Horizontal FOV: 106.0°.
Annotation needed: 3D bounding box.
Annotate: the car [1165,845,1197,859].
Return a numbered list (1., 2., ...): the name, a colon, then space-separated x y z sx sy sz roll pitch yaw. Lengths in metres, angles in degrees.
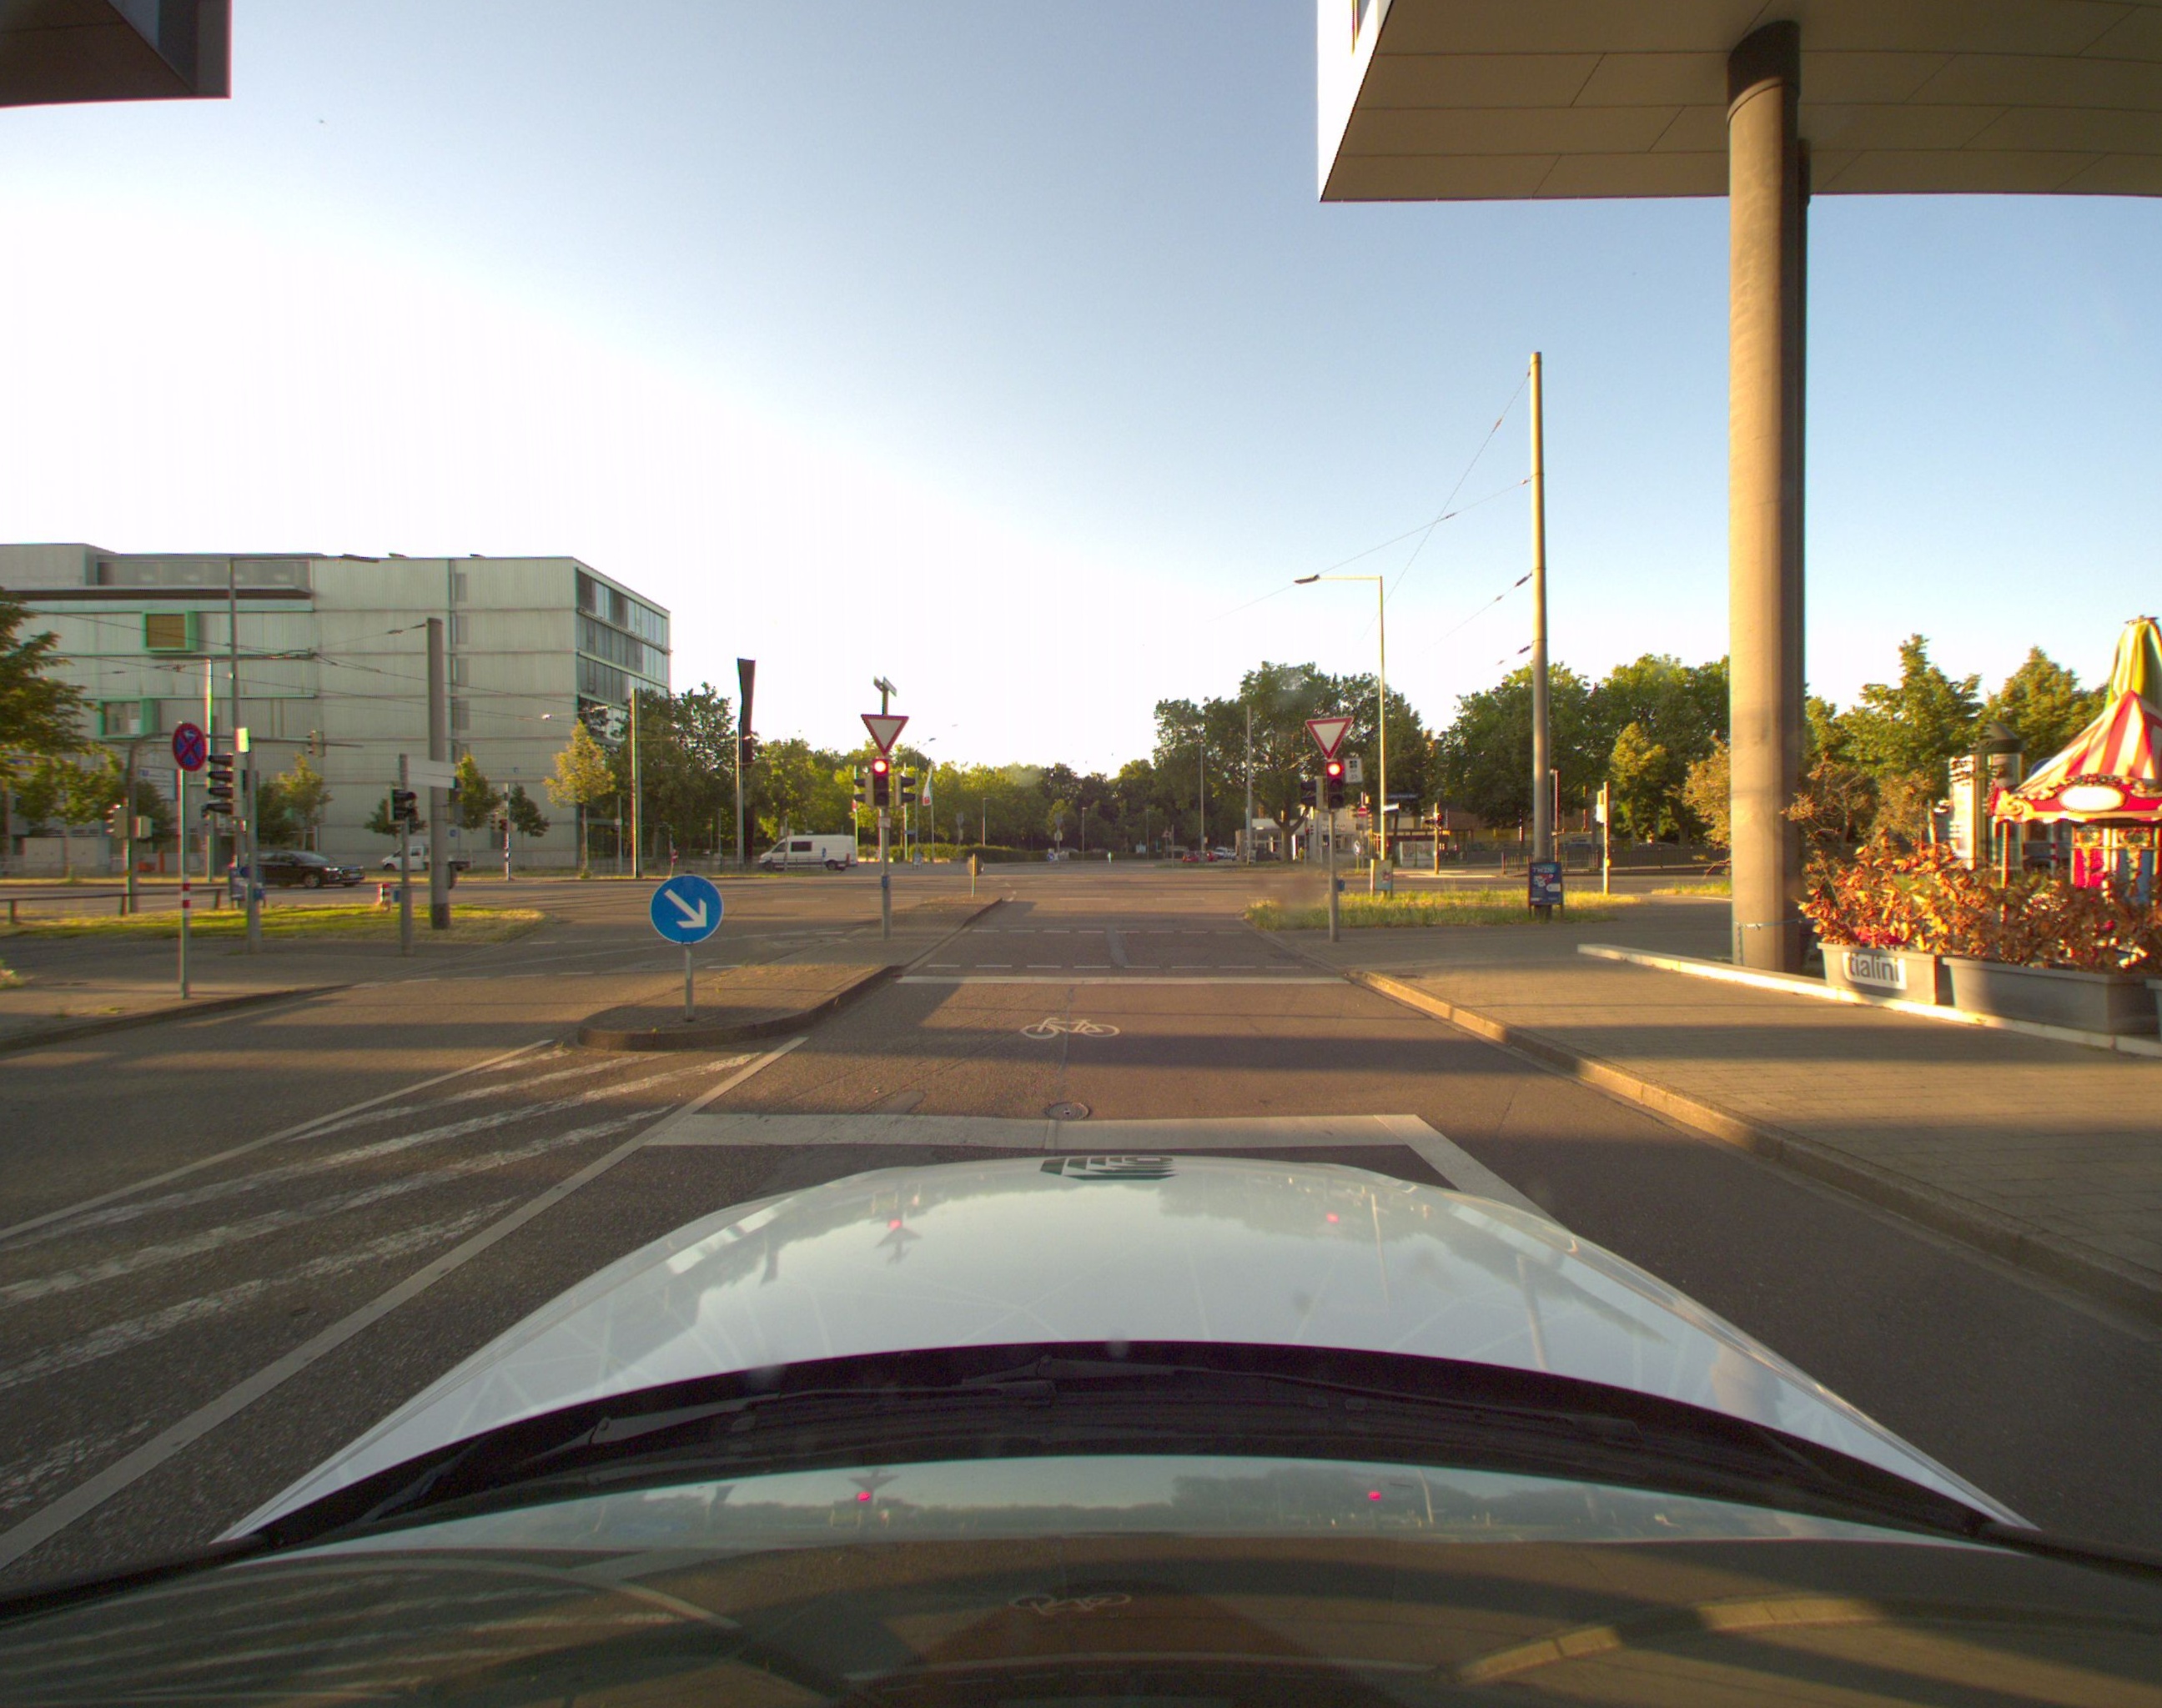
1. car: 15.411 -0.319 125.730 4.753 2.006 2.002 -1 -1 3

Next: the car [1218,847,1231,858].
1. car: 23.928 -0.243 135.739 1.849 1.794 4.015 -1 -1 14

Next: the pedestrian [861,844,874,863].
1. pedestrian: -20.332 -0.061 77.443 0.852 1.744 0.835 -1 0 40

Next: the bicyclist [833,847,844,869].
1. bicyclist: -19.040 0.291 63.901 0.753 1.709 0.914 -1 0 -21

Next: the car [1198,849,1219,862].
1. car: 16.204 0.225 103.180 1.978 1.662 4.018 -1 -1 17

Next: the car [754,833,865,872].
1. car: -19.264 -0.086 58.022 6.892 2.636 2.812 -1 -1 1

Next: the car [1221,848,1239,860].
1. car: 21.083 0.010 115.301 1.978 1.662 4.018 -1 -1 17

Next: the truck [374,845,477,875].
1. truck: -46.477 0.417 57.811 5.539 2.054 2.067 -1 0 -1

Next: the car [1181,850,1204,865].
1. car: 13.101 0.387 95.560 1.978 1.662 4.018 -1 -1 17

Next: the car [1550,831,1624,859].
1. car: 47.834 -0.841 77.058 5.561 2.551 2.235 -1 0 9

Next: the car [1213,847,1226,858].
1. car: 22.264 -0.237 130.881 1.850 1.794 4.013 -1 -1 12

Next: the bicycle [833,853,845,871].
1. bicycle: -18.951 0.598 63.798 0.732 1.341 2.672 -1 0 -20

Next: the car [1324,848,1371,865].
1. car: 23.466 0.235 71.795 3.715 1.440 1.669 -1 -1 11

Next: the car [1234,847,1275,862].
1. car: 18.920 0.022 88.901 4.194 1.552 2.005 -1 -1 9

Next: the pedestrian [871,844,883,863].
1. pedestrian: -19.627 -0.059 78.308 0.852 1.744 0.835 -1 0 40

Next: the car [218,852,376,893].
1. car: -32.508 0.744 33.894 4.467 1.557 1.986 -1 0 -4
